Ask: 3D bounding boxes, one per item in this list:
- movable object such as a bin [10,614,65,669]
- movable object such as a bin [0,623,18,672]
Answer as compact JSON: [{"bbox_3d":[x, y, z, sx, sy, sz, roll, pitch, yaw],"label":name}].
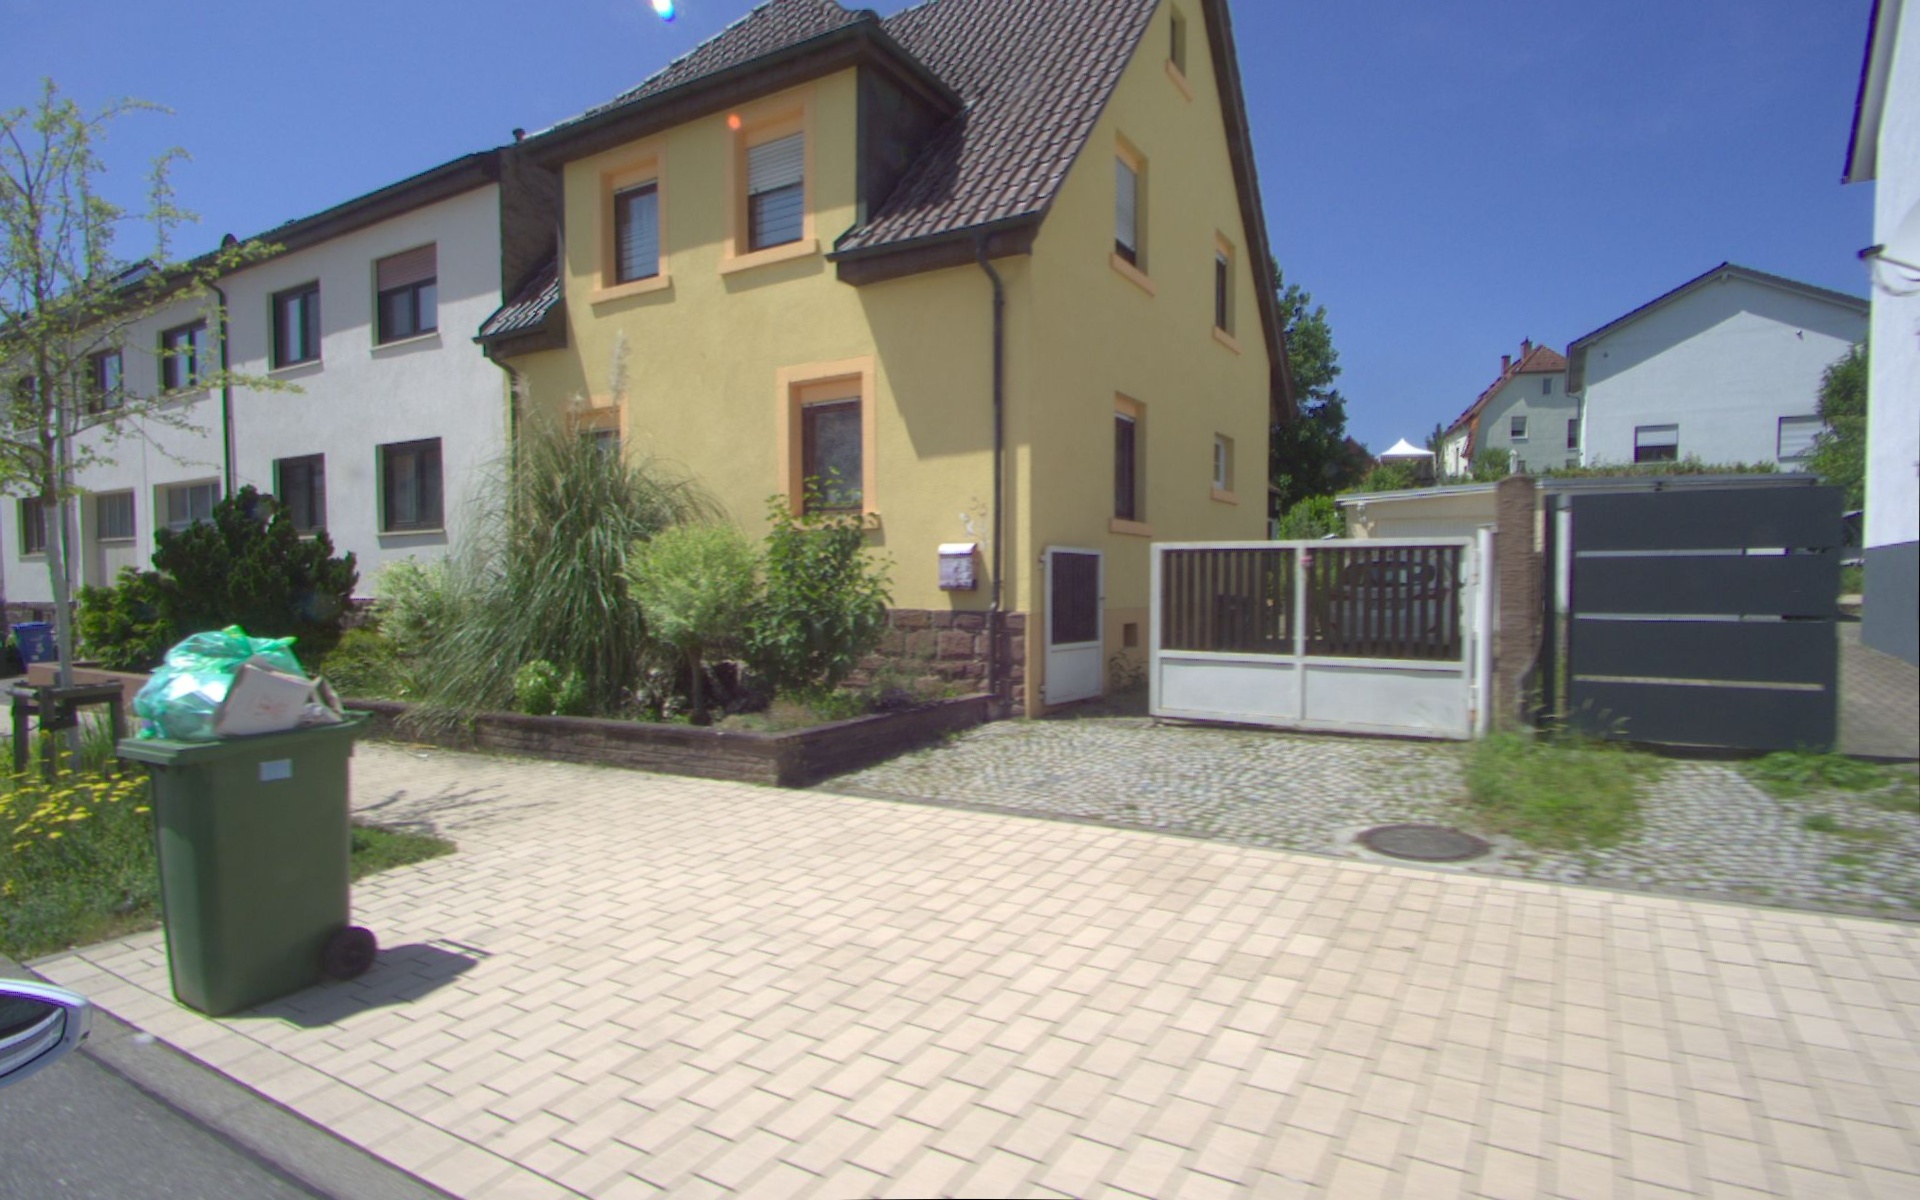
[{"bbox_3d":[-19.813,0.877,21.496,0.852,1.122,0.681,-1,4,39],"label":"movable object such as a bin"},{"bbox_3d":[-20.211,0.998,20.948,0.793,1.000,0.555,-1,5,39],"label":"movable object such as a bin"}]
